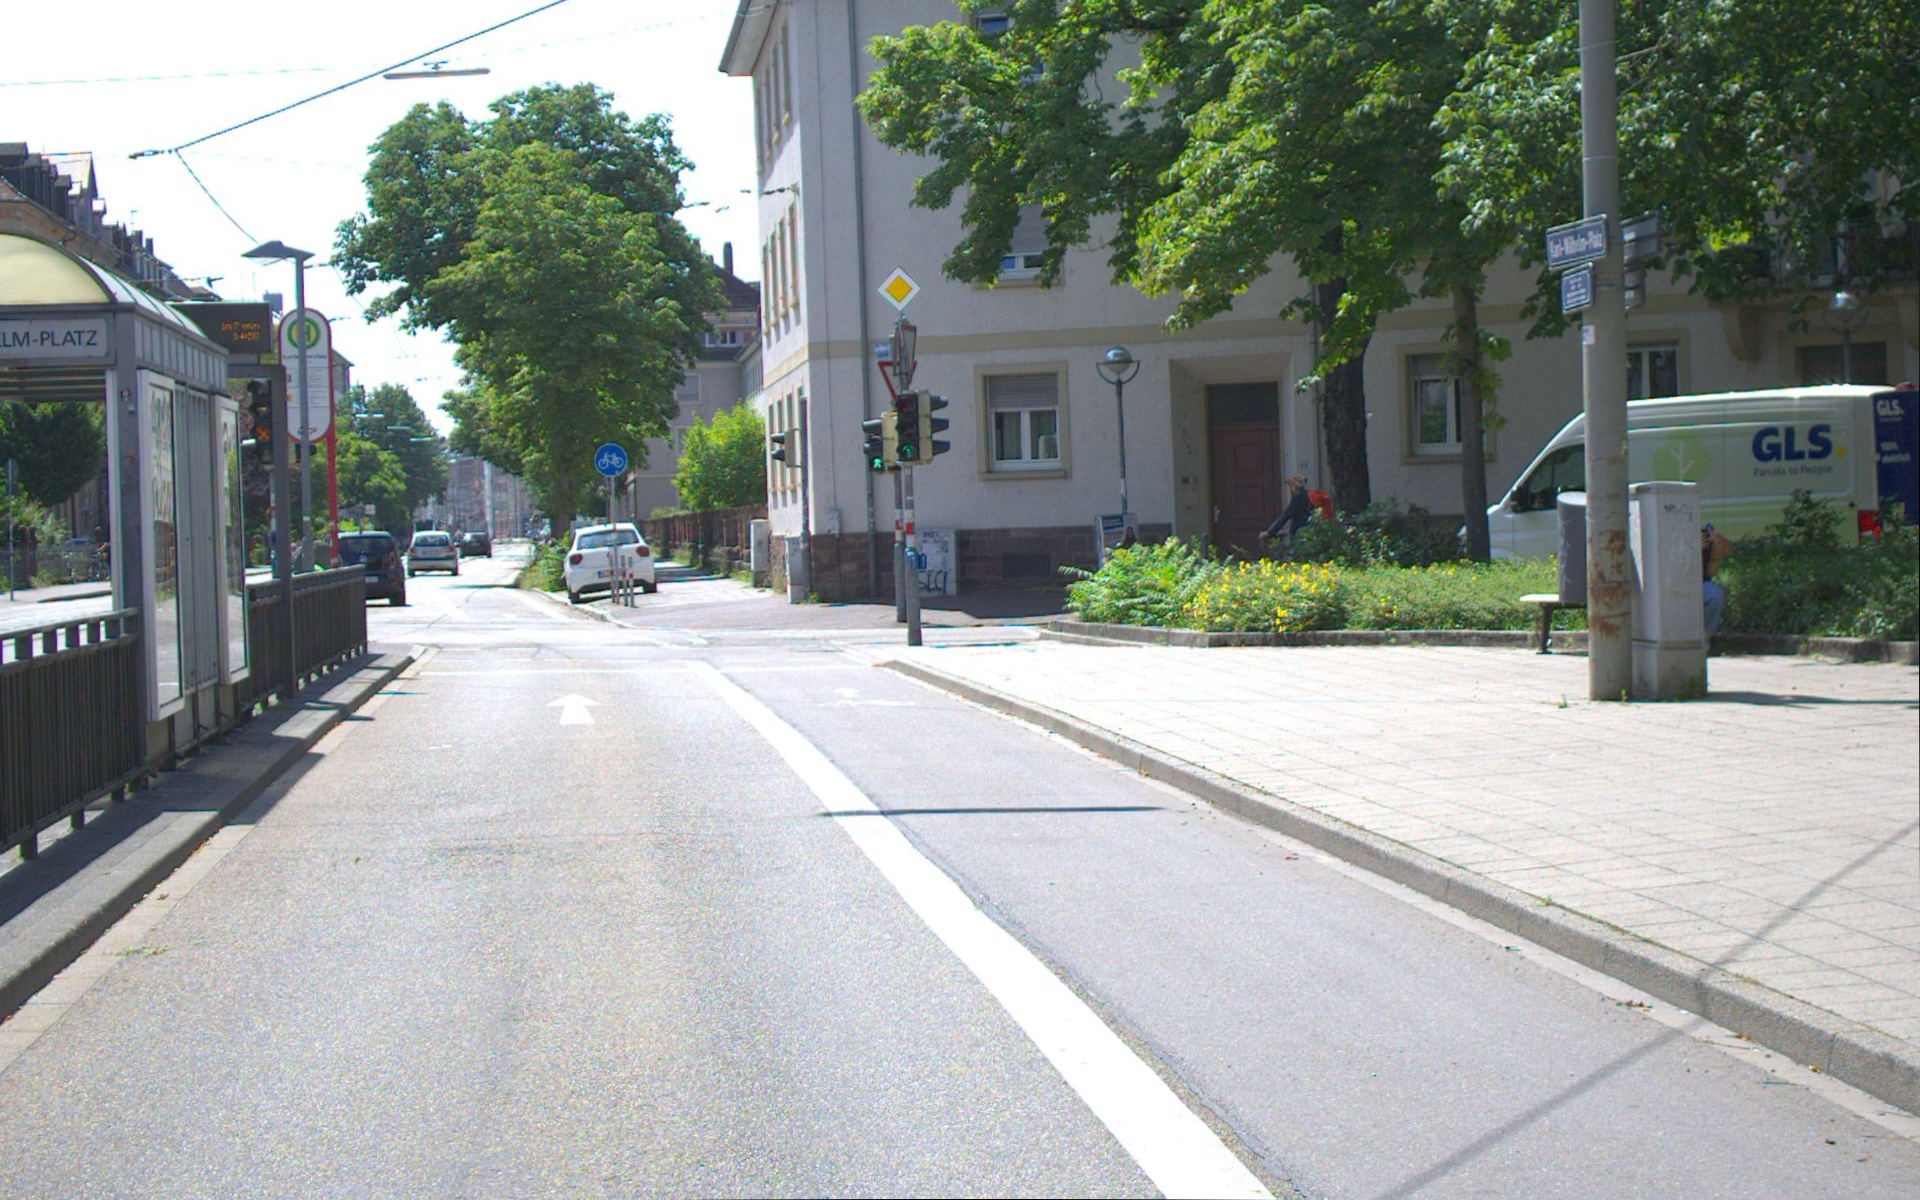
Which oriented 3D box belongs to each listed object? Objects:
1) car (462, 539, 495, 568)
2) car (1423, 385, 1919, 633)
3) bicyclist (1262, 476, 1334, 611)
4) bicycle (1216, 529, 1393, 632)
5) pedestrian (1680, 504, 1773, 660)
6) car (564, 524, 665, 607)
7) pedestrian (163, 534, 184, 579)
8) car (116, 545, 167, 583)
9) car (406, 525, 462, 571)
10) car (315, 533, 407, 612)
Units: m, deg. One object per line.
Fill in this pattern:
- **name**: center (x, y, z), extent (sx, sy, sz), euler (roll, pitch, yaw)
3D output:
- **car**: center (-27.487, -2.651, 196.192), extent (1.628, 1.467, 3.565), euler (-5, 1, -9)
- **car**: center (8.197, -0.970, 38.517), extent (5.846, 2.581, 1.995), euler (0, 2, 44)
- **bicyclist**: center (4.179, -0.694, 42.501), extent (0.694, 1.640, 0.579), euler (-1, 1, 27)
- **bicycle**: center (4.252, -0.239, 42.471), extent (2.083, 1.232, 0.580), euler (-1, 1, 26)
- **pedestrian**: center (5.554, -0.137, 24.915), extent (0.509, 1.088, 0.478), euler (-3, 2, -1)
- **car**: center (-6.890, -0.684, 68.299), extent (1.747, 1.467, 3.939), euler (-5, 1, -8)
- **pedestrian**: center (-30.013, -1.660, 131.133), extent (0.677, 1.721, 0.677), euler (-1, 1, -7)
- **car**: center (-34.253, -1.504, 144.009), extent (1.684, 1.467, 3.939), euler (-5, 1, -9)
- **car**: center (-17.703, -1.734, 115.899), extent (1.747, 1.468, 3.939), euler (-2, 1, -8)
- **car**: center (-11.772, -0.552, 67.717), extent (1.524, 1.439, 3.365), euler (-3, 1, -7)
